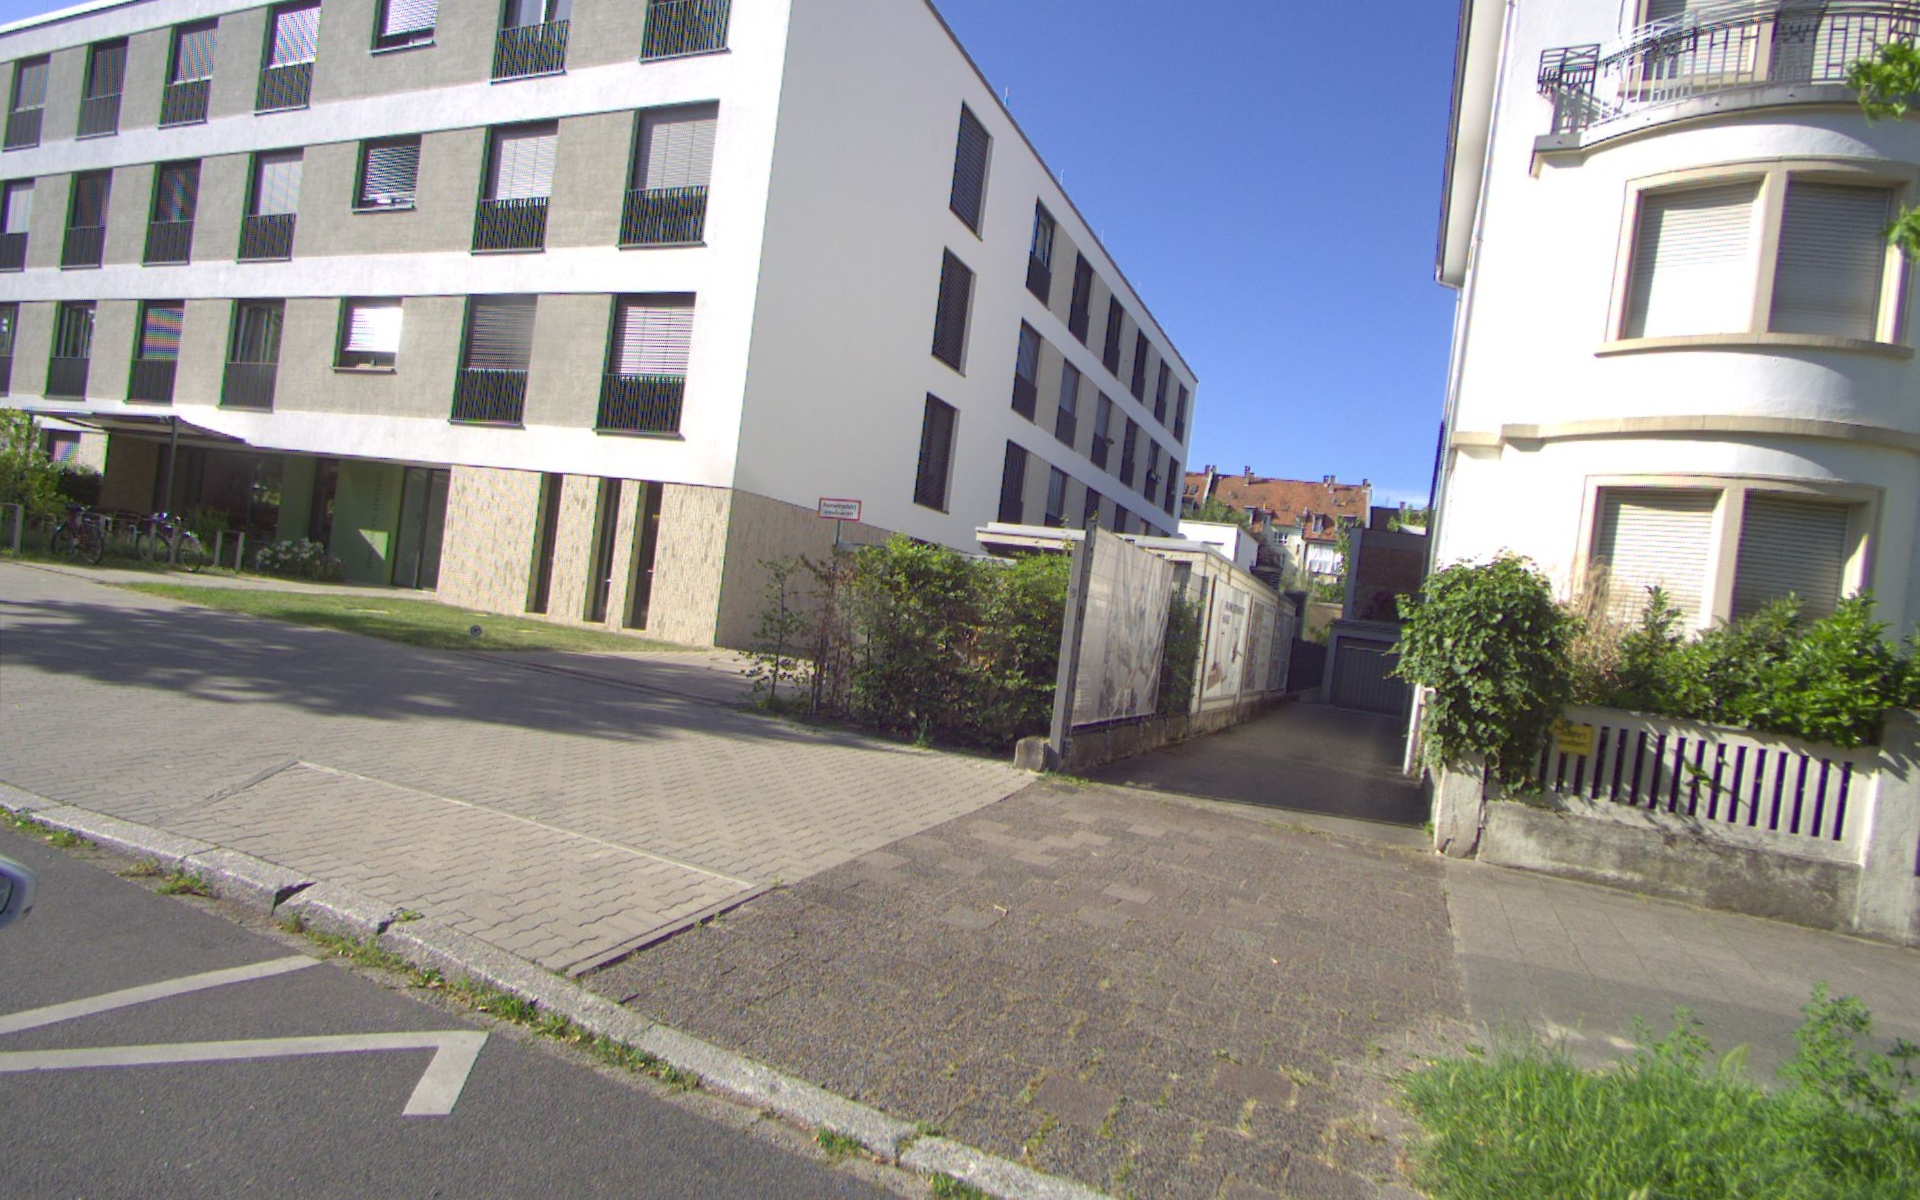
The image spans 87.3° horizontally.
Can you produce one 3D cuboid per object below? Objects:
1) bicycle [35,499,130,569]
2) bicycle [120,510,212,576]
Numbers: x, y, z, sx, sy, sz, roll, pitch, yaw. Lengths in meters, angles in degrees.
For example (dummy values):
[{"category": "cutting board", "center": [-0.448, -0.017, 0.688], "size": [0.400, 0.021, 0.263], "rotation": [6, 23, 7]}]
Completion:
[{"category": "bicycle", "center": [-15.917, -1.190, 18.244], "size": [1.660, 1.068, 0.547], "rotation": [7, 1, 22]}, {"category": "bicycle", "center": [-15.399, -1.114, 19.508], "size": [1.747, 1.068, 0.547], "rotation": [7, 1, 22]}]
